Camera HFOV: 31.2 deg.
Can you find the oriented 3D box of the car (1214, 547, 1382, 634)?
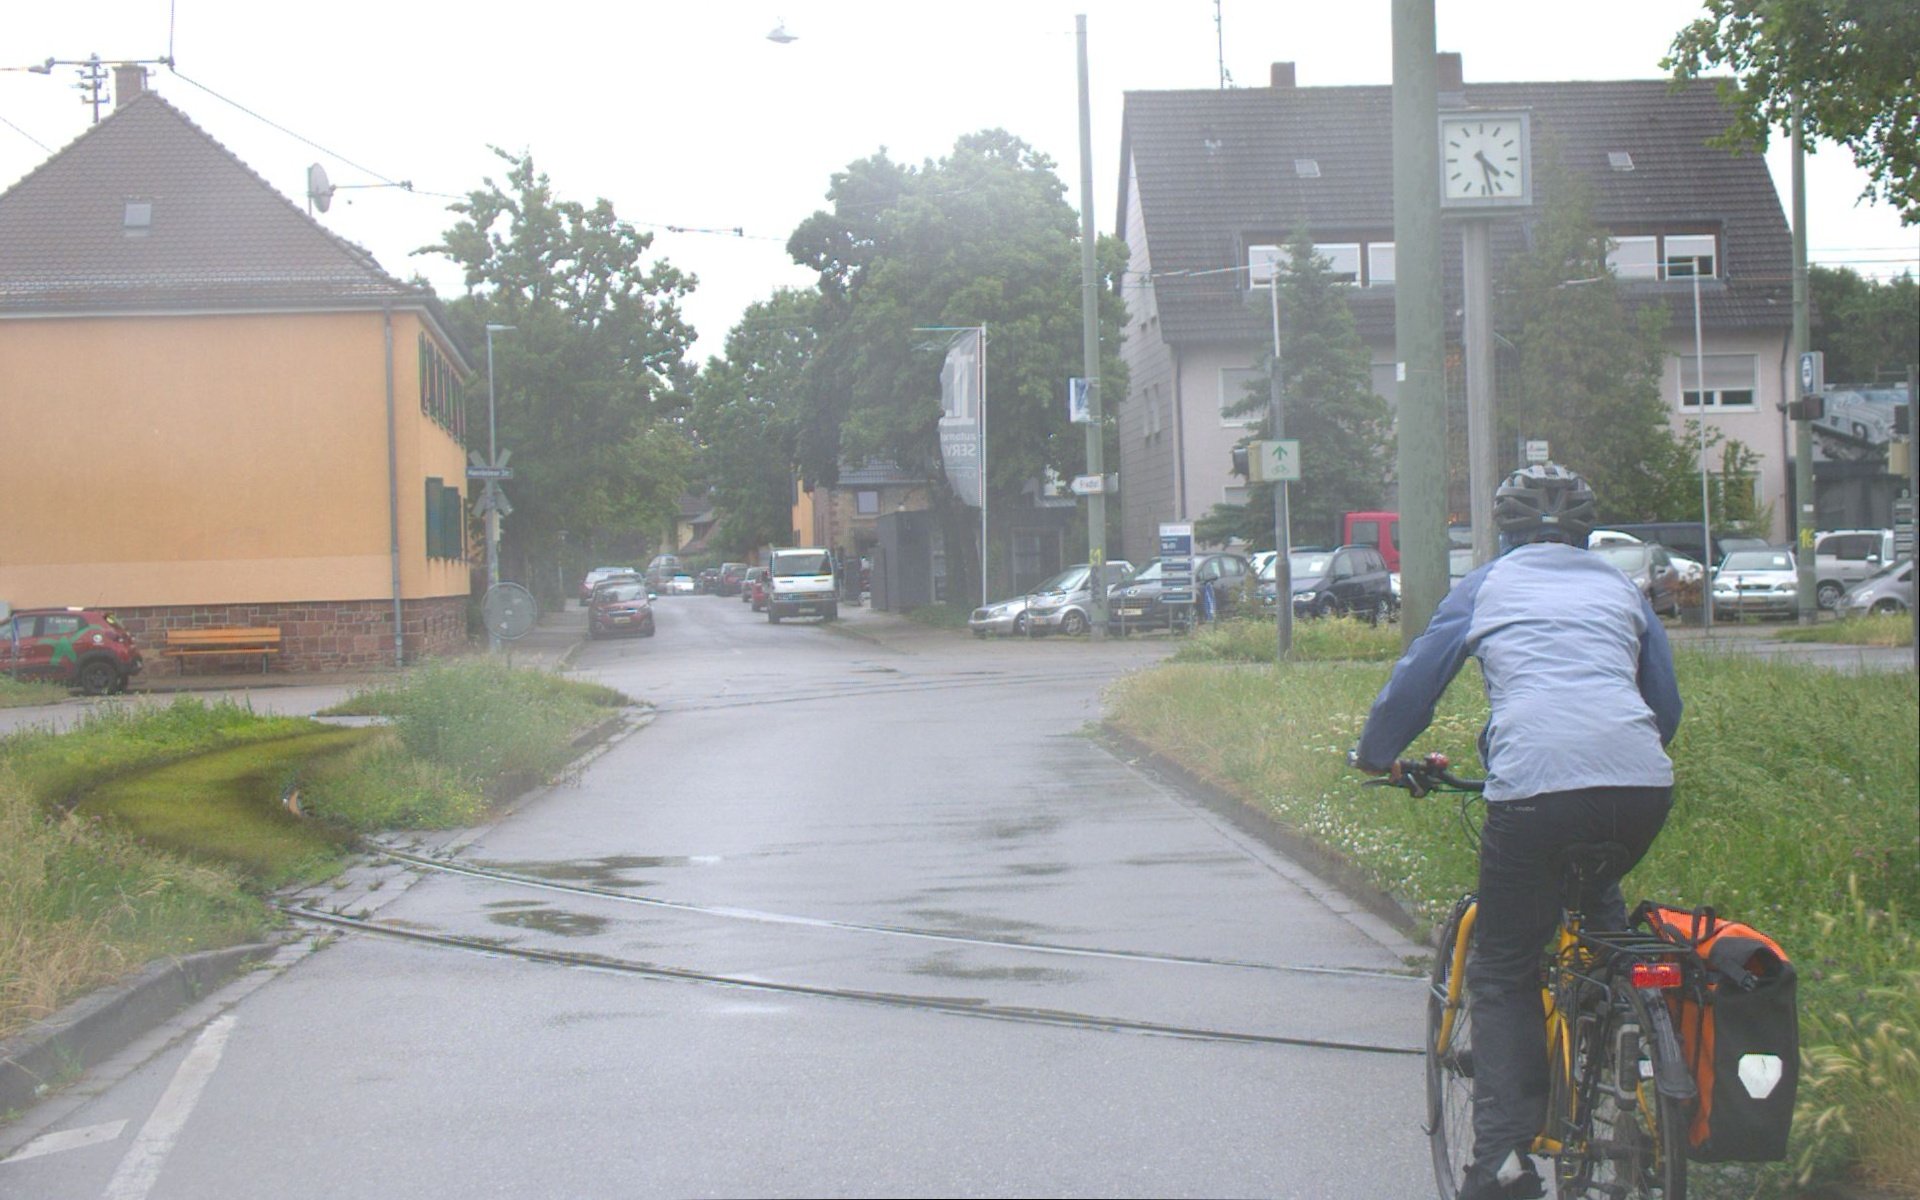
[{"bbox_3d":[6.620,-0.180,66.928,1.996,1.634,3.994,1,0,26],"label":"car"}]

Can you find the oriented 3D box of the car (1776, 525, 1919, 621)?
[{"bbox_3d":[19.235,-0.549,71.541,3.986,1.944,2.000,1,0,-2],"label":"car"}]

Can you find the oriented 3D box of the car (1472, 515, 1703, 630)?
[{"bbox_3d":[13.029,-0.560,71.570,4.395,2.317,2.000,1,0,-1],"label":"car"}]

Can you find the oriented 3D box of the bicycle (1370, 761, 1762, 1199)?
[{"bbox_3d":[1.174,0.884,6.923,0.446,1.001,1.727,-1,1,-1],"label":"bicycle"}]

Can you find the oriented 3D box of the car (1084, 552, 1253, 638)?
[{"bbox_3d":[4.181,-0.100,68.369,1.996,1.634,3.994,1,0,26],"label":"car"}]

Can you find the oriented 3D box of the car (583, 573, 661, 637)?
[{"bbox_3d":[-8.957,0.126,91.281,1.804,1.645,4.000,1,0,-2],"label":"car"}]

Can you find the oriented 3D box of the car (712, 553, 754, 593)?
[{"bbox_3d":[-10.562,-1.256,160.238,1.804,1.805,4.000,1,0,-2],"label":"car"}]

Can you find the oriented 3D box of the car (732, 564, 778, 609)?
[{"bbox_3d":[-8.512,-0.565,142.985,1.804,1.805,4.000,1,0,-2],"label":"car"}]

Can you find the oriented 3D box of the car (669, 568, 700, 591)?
[{"bbox_3d":[-17.937,-1.354,224.119,1.804,1.456,4.000,1,0,-2],"label":"car"}]

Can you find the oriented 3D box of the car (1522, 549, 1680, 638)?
[{"bbox_3d":[12.322,-0.119,65.917,1.996,1.634,3.994,1,0,26],"label":"car"}]

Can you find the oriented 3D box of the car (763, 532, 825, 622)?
[{"bbox_3d":[-4.980,-0.686,103.578,1.804,2.618,4.000,1,0,-2],"label":"car"}]

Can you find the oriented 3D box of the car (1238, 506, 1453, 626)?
[{"bbox_3d":[8.446,-0.738,75.186,4.398,2.557,1.999,1,0,15],"label":"car"}]

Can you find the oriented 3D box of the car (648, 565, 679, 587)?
[{"bbox_3d":[-19.777,-1.574,229.397,1.804,1.456,4.000,1,0,-2],"label":"car"}]

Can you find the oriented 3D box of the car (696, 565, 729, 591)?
[{"bbox_3d":[-14.912,-1.322,206.901,1.804,1.558,4.000,1,0,-2],"label":"car"}]

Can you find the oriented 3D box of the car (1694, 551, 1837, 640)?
[{"bbox_3d":[15.555,-0.087,66.272,1.843,1.634,3.994,1,0,26],"label":"car"}]

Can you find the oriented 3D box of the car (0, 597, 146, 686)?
[{"bbox_3d":[-15.948,0.682,58.241,3.986,1.451,1.834,1,0,-6],"label":"car"}]

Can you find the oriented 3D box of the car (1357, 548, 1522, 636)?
[{"bbox_3d":[9.201,-0.150,65.731,1.996,1.634,3.994,1,0,26],"label":"car"}]

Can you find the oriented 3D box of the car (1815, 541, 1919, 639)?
[{"bbox_3d":[17.095,-0.165,60.395,3.685,1.695,1.890,1,0,1],"label":"car"}]

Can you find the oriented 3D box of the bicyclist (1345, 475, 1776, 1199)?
[{"bbox_3d":[1.147,0.584,6.725,0.667,1.620,0.853,1,0,-1],"label":"bicyclist"}]

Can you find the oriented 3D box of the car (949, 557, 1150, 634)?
[{"bbox_3d":[1.967,-0.088,75.384,3.987,1.637,2.000,0,0,-35],"label":"car"}]

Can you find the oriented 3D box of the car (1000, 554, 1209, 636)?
[{"bbox_3d":[3.044,-0.100,72.303,3.987,1.670,2.000,0,0,-35],"label":"car"}]
